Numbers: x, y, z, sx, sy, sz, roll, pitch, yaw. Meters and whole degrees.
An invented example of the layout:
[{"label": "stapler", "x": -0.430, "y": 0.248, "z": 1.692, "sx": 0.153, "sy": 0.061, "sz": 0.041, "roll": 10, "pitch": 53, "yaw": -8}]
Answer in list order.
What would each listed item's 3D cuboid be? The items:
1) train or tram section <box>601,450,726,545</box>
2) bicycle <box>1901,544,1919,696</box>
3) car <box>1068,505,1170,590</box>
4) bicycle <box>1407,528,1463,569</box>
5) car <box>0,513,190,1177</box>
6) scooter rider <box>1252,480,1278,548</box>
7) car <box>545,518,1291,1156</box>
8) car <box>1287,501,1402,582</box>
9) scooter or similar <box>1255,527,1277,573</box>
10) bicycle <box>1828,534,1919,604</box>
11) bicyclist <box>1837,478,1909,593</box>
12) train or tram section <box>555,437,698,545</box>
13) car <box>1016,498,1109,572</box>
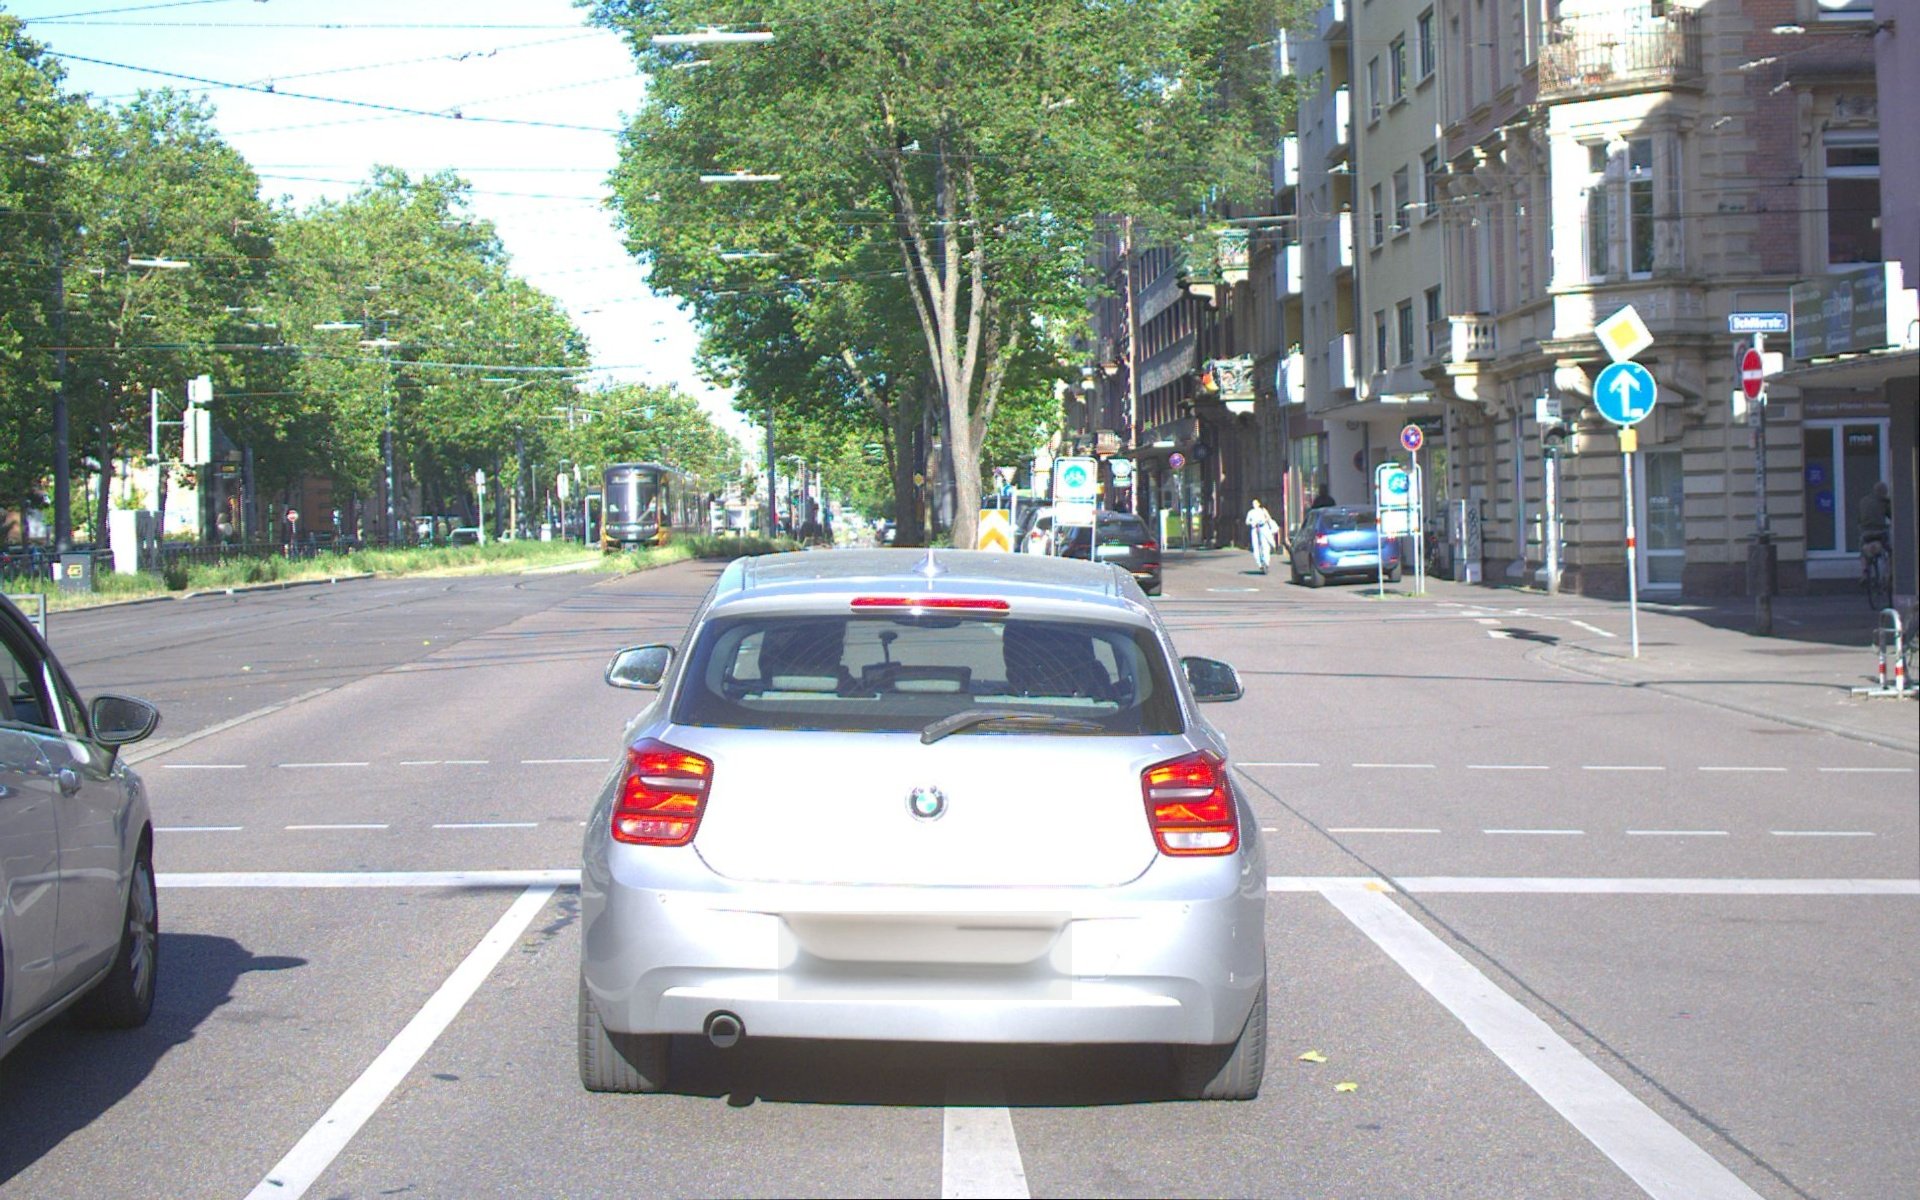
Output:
[{"label": "train or tram section", "x": -12.809, "y": -4.492, "z": 150.435, "sx": 4.005, "sy": 3.852, "sz": 17.490, "roll": -1, "pitch": 2, "yaw": 0}, {"label": "bicycle", "x": 7.470, "y": 0.161, "z": 25.948, "sx": 0.414, "sy": 1.137, "sz": 1.809, "roll": 0, "pitch": 2, "yaw": 6}, {"label": "car", "x": 2.803, "y": -0.949, "z": 60.706, "sx": 1.735, "sy": 1.428, "sz": 3.678, "roll": 0, "pitch": 2, "yaw": 2}, {"label": "bicycle", "x": 9.234, "y": -1.004, "z": 66.875, "sx": 0.754, "sy": 0.768, "sz": 1.946, "roll": -1, "pitch": 2, "yaw": -2}, {"label": "car", "x": -3.048, "y": 0.533, "z": 8.702, "sx": 1.609, "sy": 1.462, "sz": 3.891, "roll": -1, "pitch": 2, "yaw": -5}, {"label": "scooter rider", "x": 6.740, "y": -1.903, "z": 76.006, "sx": 0.465, "sy": 1.500, "sz": 0.810, "roll": 0, "pitch": 1, "yaw": 11}, {"label": "car", "x": -0.125, "y": 0.514, "z": 10.101, "sx": 1.740, "sy": 1.462, "sz": 4.001, "roll": 1, "pitch": 2, "yaw": -1}, {"label": "car", "x": 7.408, "y": -1.156, "z": 66.511, "sx": 1.735, "sy": 1.514, "sz": 3.637, "roll": 0, "pitch": 2, "yaw": -1}, {"label": "scooter or similar", "x": 6.785, "y": -1.118, "z": 76.132, "sx": 0.337, "sy": 0.984, "sz": 1.284, "roll": 0, "pitch": 2, "yaw": 11}, {"label": "bicycle", "x": 12.148, "y": -0.420, "z": 45.688, "sx": 0.654, "sy": 0.900, "sz": 1.335, "roll": 1, "pitch": 2, "yaw": 41}, {"label": "bicyclist", "x": 12.126, "y": -0.857, "z": 45.659, "sx": 0.548, "sy": 1.496, "sz": 0.959, "roll": 0, "pitch": 2, "yaw": 41}, {"label": "train or tram section", "x": -12.707, "y": -4.200, "z": 132.892, "sx": 3.969, "sy": 3.852, "sz": 17.490, "roll": -1, "pitch": 2, "yaw": 0}, {"label": "car", "x": 2.118, "y": -1.376, "z": 71.828, "sx": 1.724, "sy": 1.501, "sz": 3.555, "roll": 0, "pitch": 2, "yaw": -2}]
